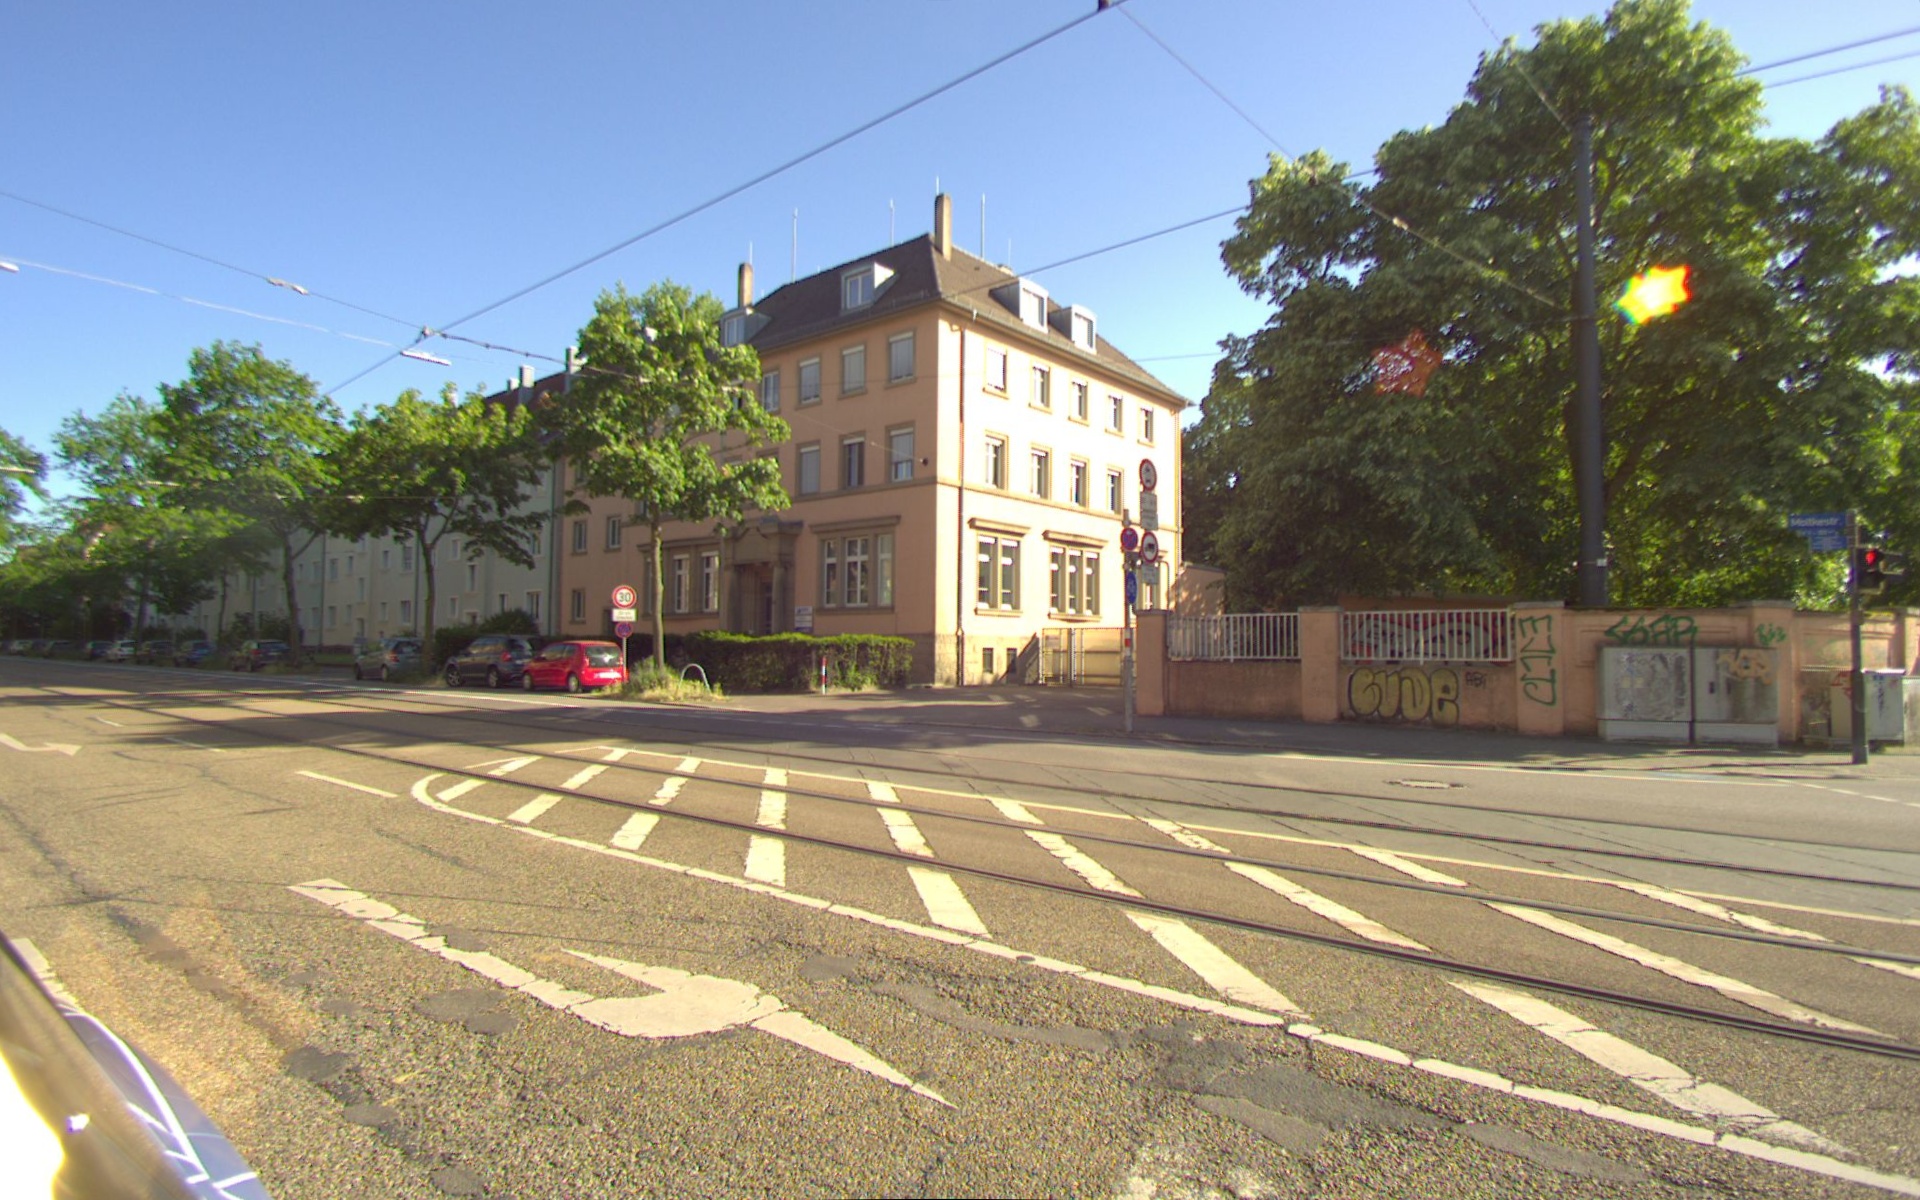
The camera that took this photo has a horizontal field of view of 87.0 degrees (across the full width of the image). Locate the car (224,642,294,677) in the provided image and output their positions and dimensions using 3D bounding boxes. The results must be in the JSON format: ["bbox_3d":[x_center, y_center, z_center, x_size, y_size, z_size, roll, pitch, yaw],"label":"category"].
[{"bbox_3d":[-33.737,2.853,48.705,3.626,1.611,1.793,-2,-4,39],"label":"car"}]

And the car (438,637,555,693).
[{"bbox_3d":[-14.827,2.057,32.314,3.813,1.671,1.794,-2,-4,37],"label":"car"}]

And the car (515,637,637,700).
[{"bbox_3d":[-11.198,1.961,29.476,3.369,1.719,1.794,-2,-4,37],"label":"car"}]

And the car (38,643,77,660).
[{"bbox_3d":[-76.156,4.368,85.381,3.626,1.430,1.793,-2,-4,39],"label":"car"}]

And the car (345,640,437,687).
[{"bbox_3d":[-21.453,2.378,38.103,3.874,1.671,1.792,-2,-4,41],"label":"car"}]

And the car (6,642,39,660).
[{"bbox_3d":[-93.636,5.083,101.072,3.626,1.792,1.793,-2,-4,39],"label":"car"}]

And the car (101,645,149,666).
[{"bbox_3d":[-56.590,3.745,68.598,3.626,1.430,1.793,-2,-4,39],"label":"car"}]

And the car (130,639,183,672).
[{"bbox_3d":[-49.573,3.403,62.421,3.626,1.956,1.793,-2,-4,39],"label":"car"}]

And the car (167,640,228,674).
[{"bbox_3d":[-42.643,3.155,56.574,3.791,1.839,1.793,-2,-4,39],"label":"car"}]

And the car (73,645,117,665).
[{"bbox_3d":[-63.478,4.018,74.259,3.626,1.430,1.793,-2,-4,39],"label":"car"}]

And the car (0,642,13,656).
[{"bbox_3d":[-102.851,5.219,108.182,3.626,1.535,1.793,-2,-4,39],"label":"car"}]
